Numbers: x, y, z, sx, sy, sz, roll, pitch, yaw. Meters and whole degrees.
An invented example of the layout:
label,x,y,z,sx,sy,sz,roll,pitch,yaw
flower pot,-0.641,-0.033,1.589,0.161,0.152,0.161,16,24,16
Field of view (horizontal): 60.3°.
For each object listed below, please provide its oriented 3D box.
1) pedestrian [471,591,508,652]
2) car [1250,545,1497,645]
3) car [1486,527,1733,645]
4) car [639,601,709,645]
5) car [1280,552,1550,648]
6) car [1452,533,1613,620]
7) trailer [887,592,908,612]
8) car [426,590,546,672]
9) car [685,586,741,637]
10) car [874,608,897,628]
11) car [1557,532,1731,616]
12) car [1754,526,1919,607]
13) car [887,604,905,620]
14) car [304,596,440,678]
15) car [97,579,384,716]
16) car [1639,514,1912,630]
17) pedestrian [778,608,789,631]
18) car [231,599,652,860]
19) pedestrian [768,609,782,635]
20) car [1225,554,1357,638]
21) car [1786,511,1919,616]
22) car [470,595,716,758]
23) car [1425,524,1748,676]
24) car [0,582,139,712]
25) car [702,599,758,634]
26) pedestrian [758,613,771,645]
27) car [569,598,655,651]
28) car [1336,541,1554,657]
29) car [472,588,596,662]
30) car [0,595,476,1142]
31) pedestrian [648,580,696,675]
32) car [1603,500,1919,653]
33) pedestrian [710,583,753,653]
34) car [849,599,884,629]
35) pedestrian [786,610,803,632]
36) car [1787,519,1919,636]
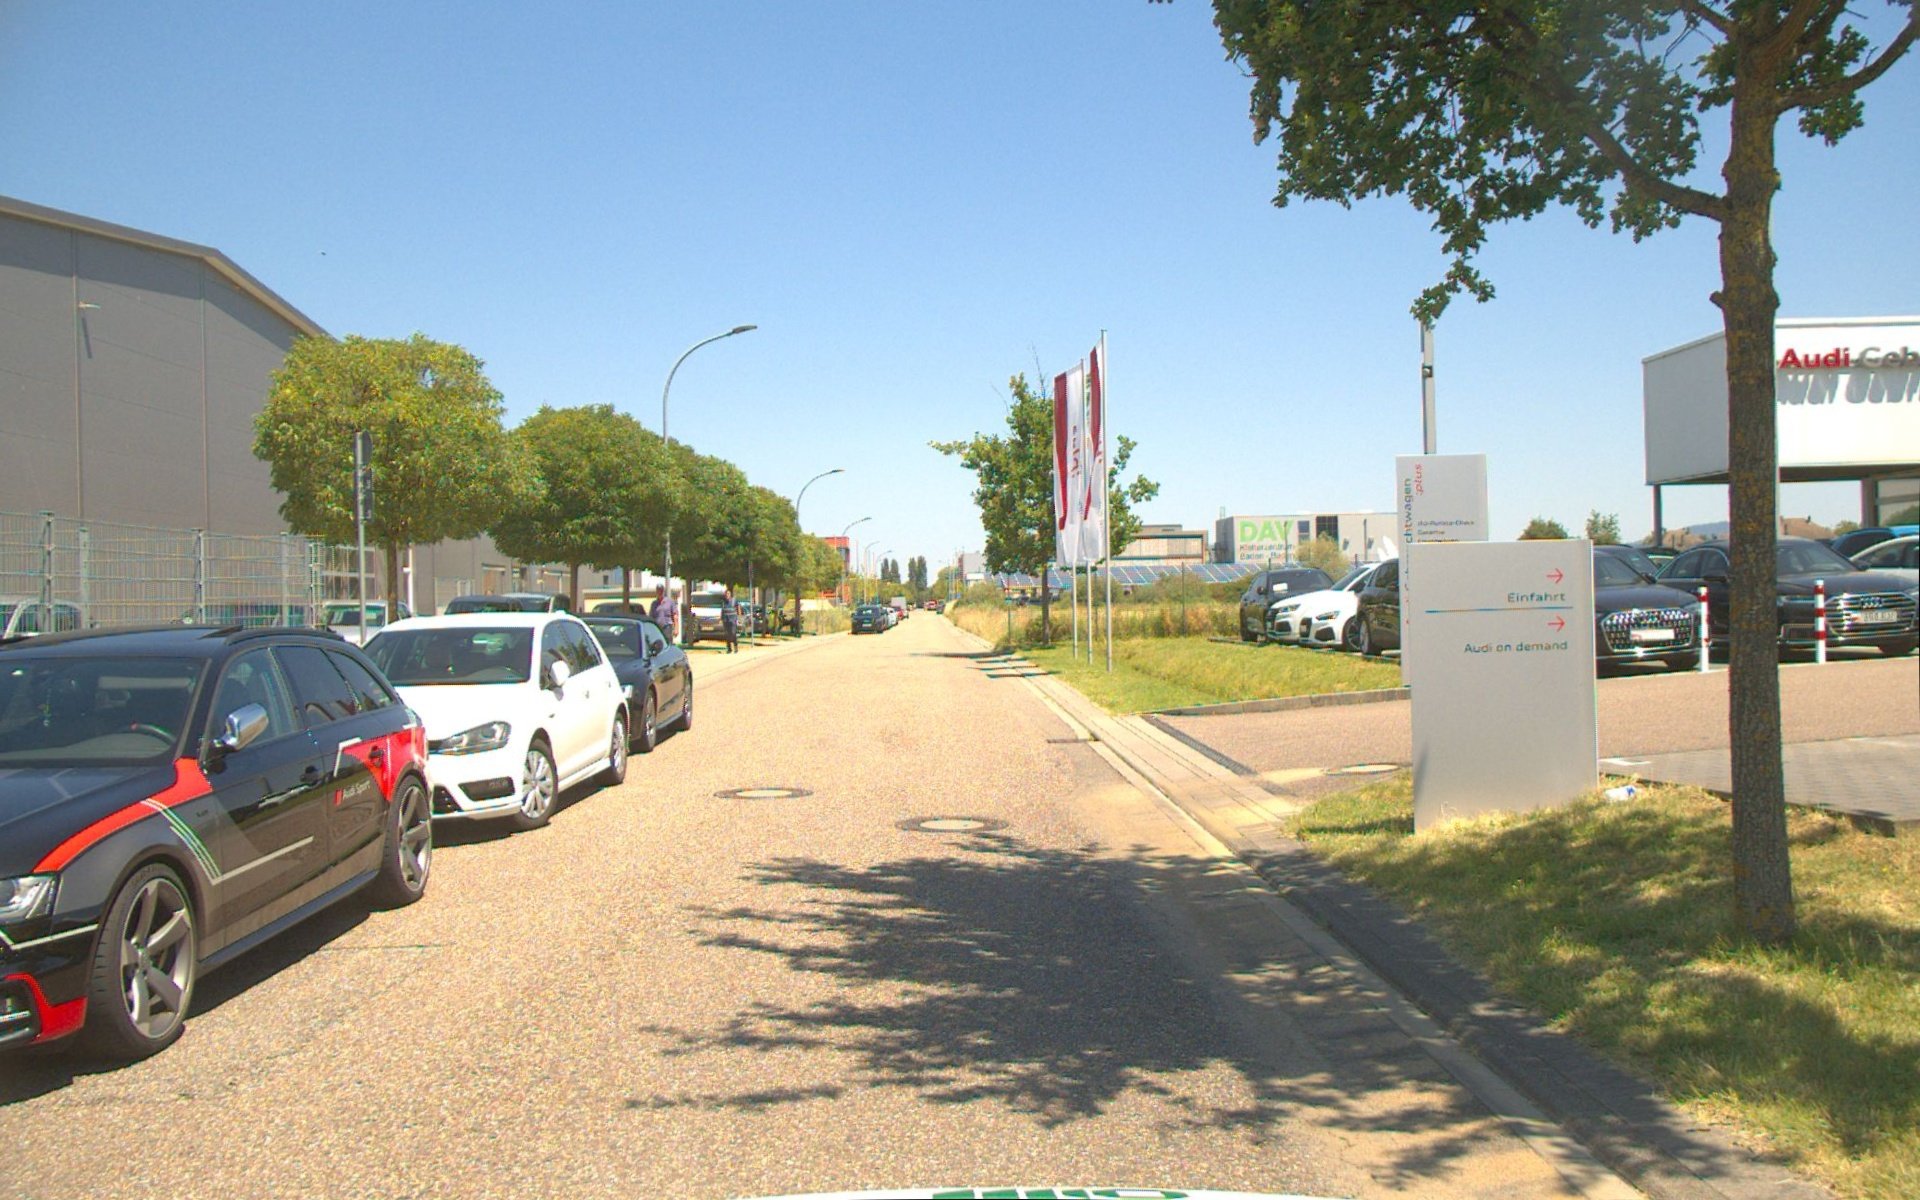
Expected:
label,x,y,z,sx,sy,sz,roll,pitch,yaw
pedestrian,-13.748,0.620,48.313,0.823,1.743,0.964,0,0,-2
car,8.407,-0.101,33.885,4.439,1.722,2.030,-3,0,-4
car,10.321,-0.209,26.725,1.984,1.617,4.778,-3,0,-1
car,-10.174,0.784,59.065,1.730,1.479,4.713,-1,0,-1
car,8.518,-0.003,31.233,4.439,1.482,2.030,-3,0,-4
car,13.110,-0.514,38.208,1.983,1.755,4.809,-3,0,0
trailer,-7.092,0.264,188.273,2.156,2.175,4.284,-2,0,-1
car,-9.436,0.581,33.190,1.650,1.526,3.700,-1,0,-6
car,-10.335,0.466,69.491,1.800,2.054,5.122,1,0,-3
car,-6.175,1.457,136.936,1.751,1.547,3.981,-2,0,-1
car,15.713,-0.571,38.313,1.983,1.709,4.809,-3,0,0
car,20.558,-0.740,38.296,1.983,1.683,4.809,-3,0,0
car,-6.823,1.295,177.273,1.751,1.547,3.981,-2,0,-1
car,-11.525,0.695,32.641,1.650,1.526,3.701,0,0,-5
car,-9.346,0.562,21.906,1.787,1.526,4.328,-4,0,1
car,13.149,-0.415,27.054,1.984,1.617,4.778,-3,0,-1
pedestrian,-9.348,1.049,87.529,0.495,1.212,0.753,1,-1,1
car,-3.571,0.793,12.268,1.787,1.526,4.258,-2,0,-1
pedestrian,-8.507,1.006,76.058,0.468,1.170,0.555,1,-3,9
car,7.625,-0.092,38.582,1.983,1.722,5.108,-3,0,0
car,15.794,-0.616,27.120,1.984,1.617,4.778,-3,0,-1
car,-3.930,0.751,18.473,1.787,1.526,4.524,-2,0,-1
car,7.768,0.001,21.172,1.984,1.540,5.238,-5,0,-1
car,-12.171,0.543,20.533,1.787,1.526,4.259,0,0,1
car,-10.483,0.781,75.692,1.887,1.466,4.840,-2,-1,0
pedestrian,-10.156,1.487,85.893,0.495,1.623,0.753,1,-1,1
car,-10.200,0.694,48.744,1.729,1.479,3.839,0,0,0
car,7.689,-0.012,26.759,1.984,1.600,4.778,-3,0,-1
car,-9.690,0.547,37.979,1.729,1.601,4.539,0,0,-1
car,-3.565,0.784,6.866,1.787,1.526,4.519,-2,0,-1
pedestrian,-5.682,0.525,32.650,0.729,1.833,1.135,0,0,0
car,10.333,-0.284,21.207,1.858,1.600,5.474,-5,0,-1
pedestrian,-6.645,0.508,48.104,0.827,2.007,0.960,0,0,39
car,-5.295,0.755,94.186,1.888,1.595,4.188,-2,0,-2
pedestrian,-8.649,1.083,86.434,0.735,1.118,0.646,1,-1,3
car,13.183,-0.366,21.675,1.984,1.482,5.076,-5,0,-1
